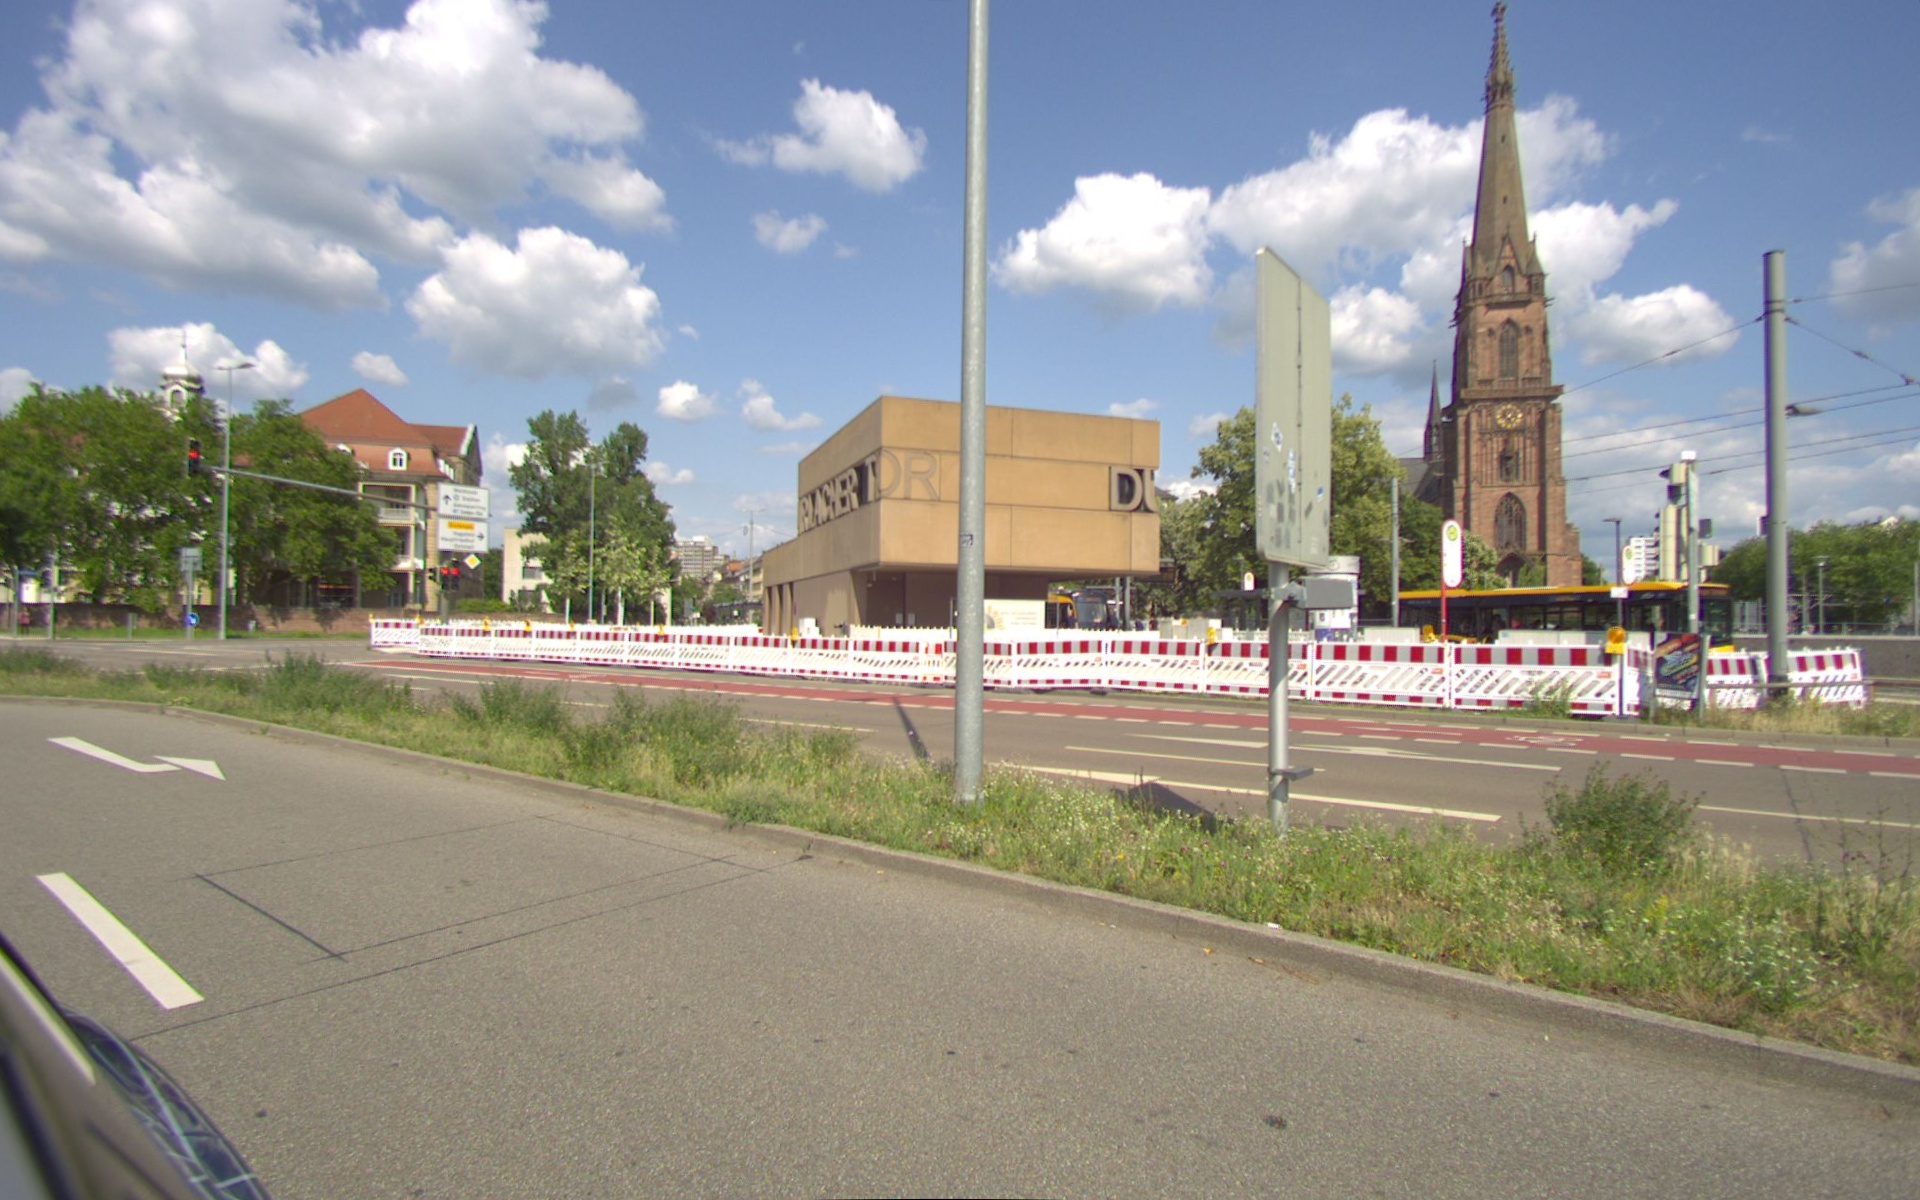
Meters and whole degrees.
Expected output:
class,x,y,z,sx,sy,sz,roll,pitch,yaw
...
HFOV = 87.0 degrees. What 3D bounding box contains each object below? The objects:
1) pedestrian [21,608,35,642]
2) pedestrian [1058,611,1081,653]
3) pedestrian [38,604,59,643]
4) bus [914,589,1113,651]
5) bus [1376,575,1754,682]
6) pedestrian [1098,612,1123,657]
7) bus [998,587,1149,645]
class,x,y,z,sx,sy,sz,roll,pitch,yaw
pedestrian,-48.863,1.296,53.078,0.363,1.745,0.452,0,0,-13
pedestrian,4.401,1.275,40.644,0.762,1.644,0.646,0,-1,29
pedestrian,-47.288,1.199,52.500,0.616,2.009,0.579,0,0,12
bus,2.369,1.314,64.111,3.416,3.208,23.854,1,-1,-20
bus,20.833,1.029,36.627,2.785,3.160,12.881,1,-2,-20
pedestrian,5.551,1.265,37.352,0.720,1.642,0.561,1,-1,-24
bus,7.677,1.250,74.099,3.547,3.659,18.928,1,-1,-17
